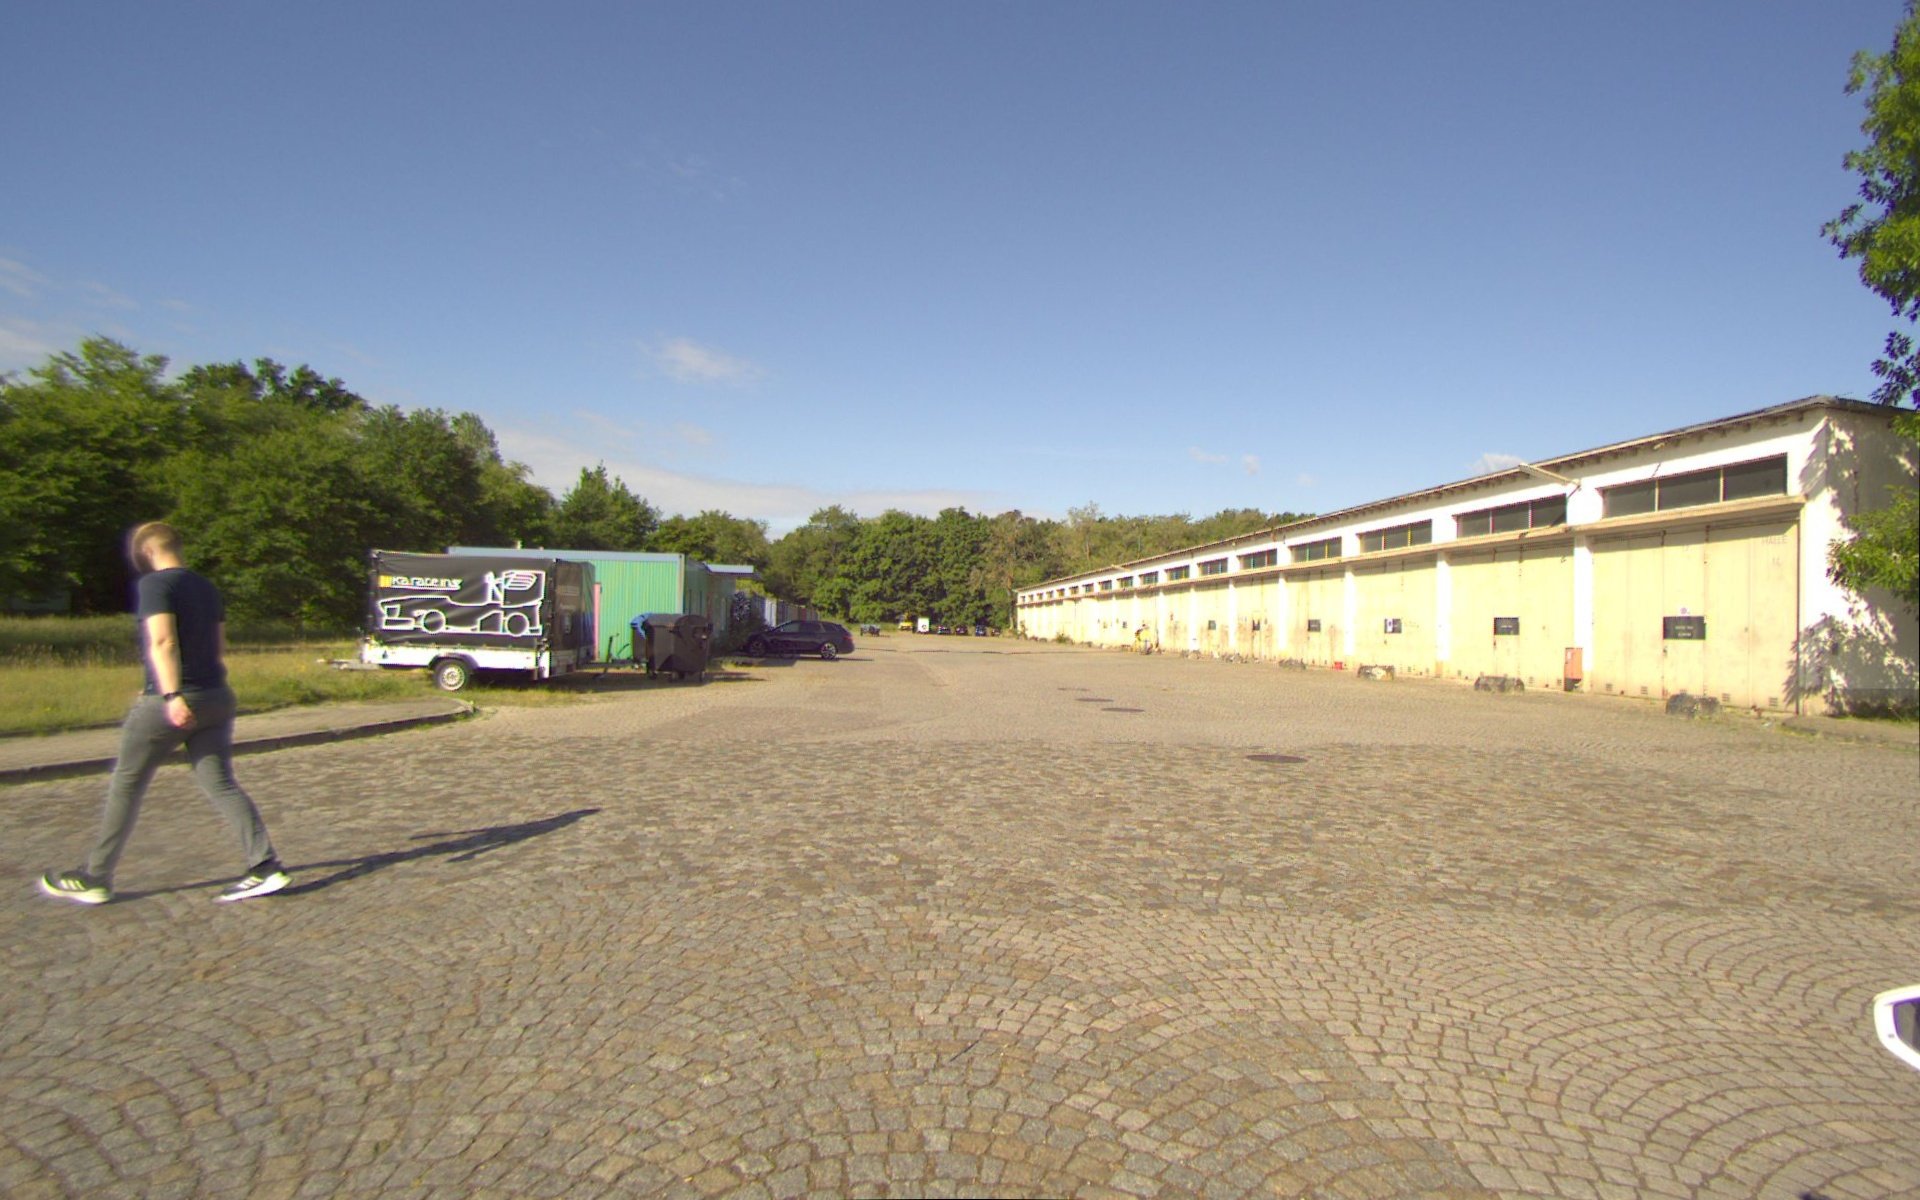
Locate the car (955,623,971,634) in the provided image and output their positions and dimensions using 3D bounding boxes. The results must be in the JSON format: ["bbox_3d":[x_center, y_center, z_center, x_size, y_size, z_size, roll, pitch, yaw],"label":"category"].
[{"bbox_3d":[0.390,3.899,137.017,1.960,1.482,4.001,1,-1,2],"label":"car"}]

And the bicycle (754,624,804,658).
[{"bbox_3d":[-6.535,1.493,36.383,1.681,1.116,0.673,3,-1,-5],"label":"bicycle"}]

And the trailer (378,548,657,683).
[{"bbox_3d":[-8.804,0.349,20.449,4.769,2.422,1.939,3,-1,-11],"label":"trailer"}]

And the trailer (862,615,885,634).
[{"bbox_3d":[-10.175,2.839,118.407,2.368,2.040,4.172,4,-1,-3],"label":"trailer"}]

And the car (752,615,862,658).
[{"bbox_3d":[-5.822,1.369,38.125,3.991,1.431,1.728,3,-2,-11],"label":"car"}]

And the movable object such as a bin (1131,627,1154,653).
[{"bbox_3d":[9.809,2.143,53.991,0.811,1.349,1.278,2,-1,-10],"label":"movable object such as a bin"}]

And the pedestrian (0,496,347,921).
[{"bbox_3d":[-3.903,0.516,5.029,1.120,1.939,0.800,1,-1,-4],"label":"pedestrian"}]

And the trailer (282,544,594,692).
[{"bbox_3d":[-9.127,0.341,17.936,4.384,2.303,2.013,3,-1,-5],"label":"trailer"}]

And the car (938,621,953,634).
[{"bbox_3d":[-1.976,3.749,136.619,1.830,1.606,4.001,1,-1,2],"label":"car"}]

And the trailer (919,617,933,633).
[{"bbox_3d":[-4.669,3.478,138.087,1.764,2.117,3.971,1,-1,-1],"label":"trailer"}]

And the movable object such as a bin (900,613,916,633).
[{"bbox_3d":[-7.136,3.190,138.148,1.961,2.652,4.000,3,-1,-1],"label":"movable object such as a bin"}]

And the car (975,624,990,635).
[{"bbox_3d":[3.047,3.987,137.397,1.960,1.439,4.002,1,-2,2],"label":"car"}]

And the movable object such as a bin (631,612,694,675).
[{"bbox_3d":[-6.943,1.017,23.529,1.063,1.404,1.369,2,-1,-2],"label":"movable object such as a bin"}]

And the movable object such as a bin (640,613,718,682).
[{"bbox_3d":[-6.075,1.014,21.684,1.345,1.404,1.042,0,-2,42],"label":"movable object such as a bin"}]

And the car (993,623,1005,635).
[{"bbox_3d":[5.380,3.972,138.805,1.657,1.584,4.001,1,-1,2],"label":"car"}]

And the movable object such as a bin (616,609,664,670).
[{"bbox_3d":[-8.010,0.982,25.216,1.071,1.455,1.404,2,-1,-17],"label":"movable object such as a bin"}]
